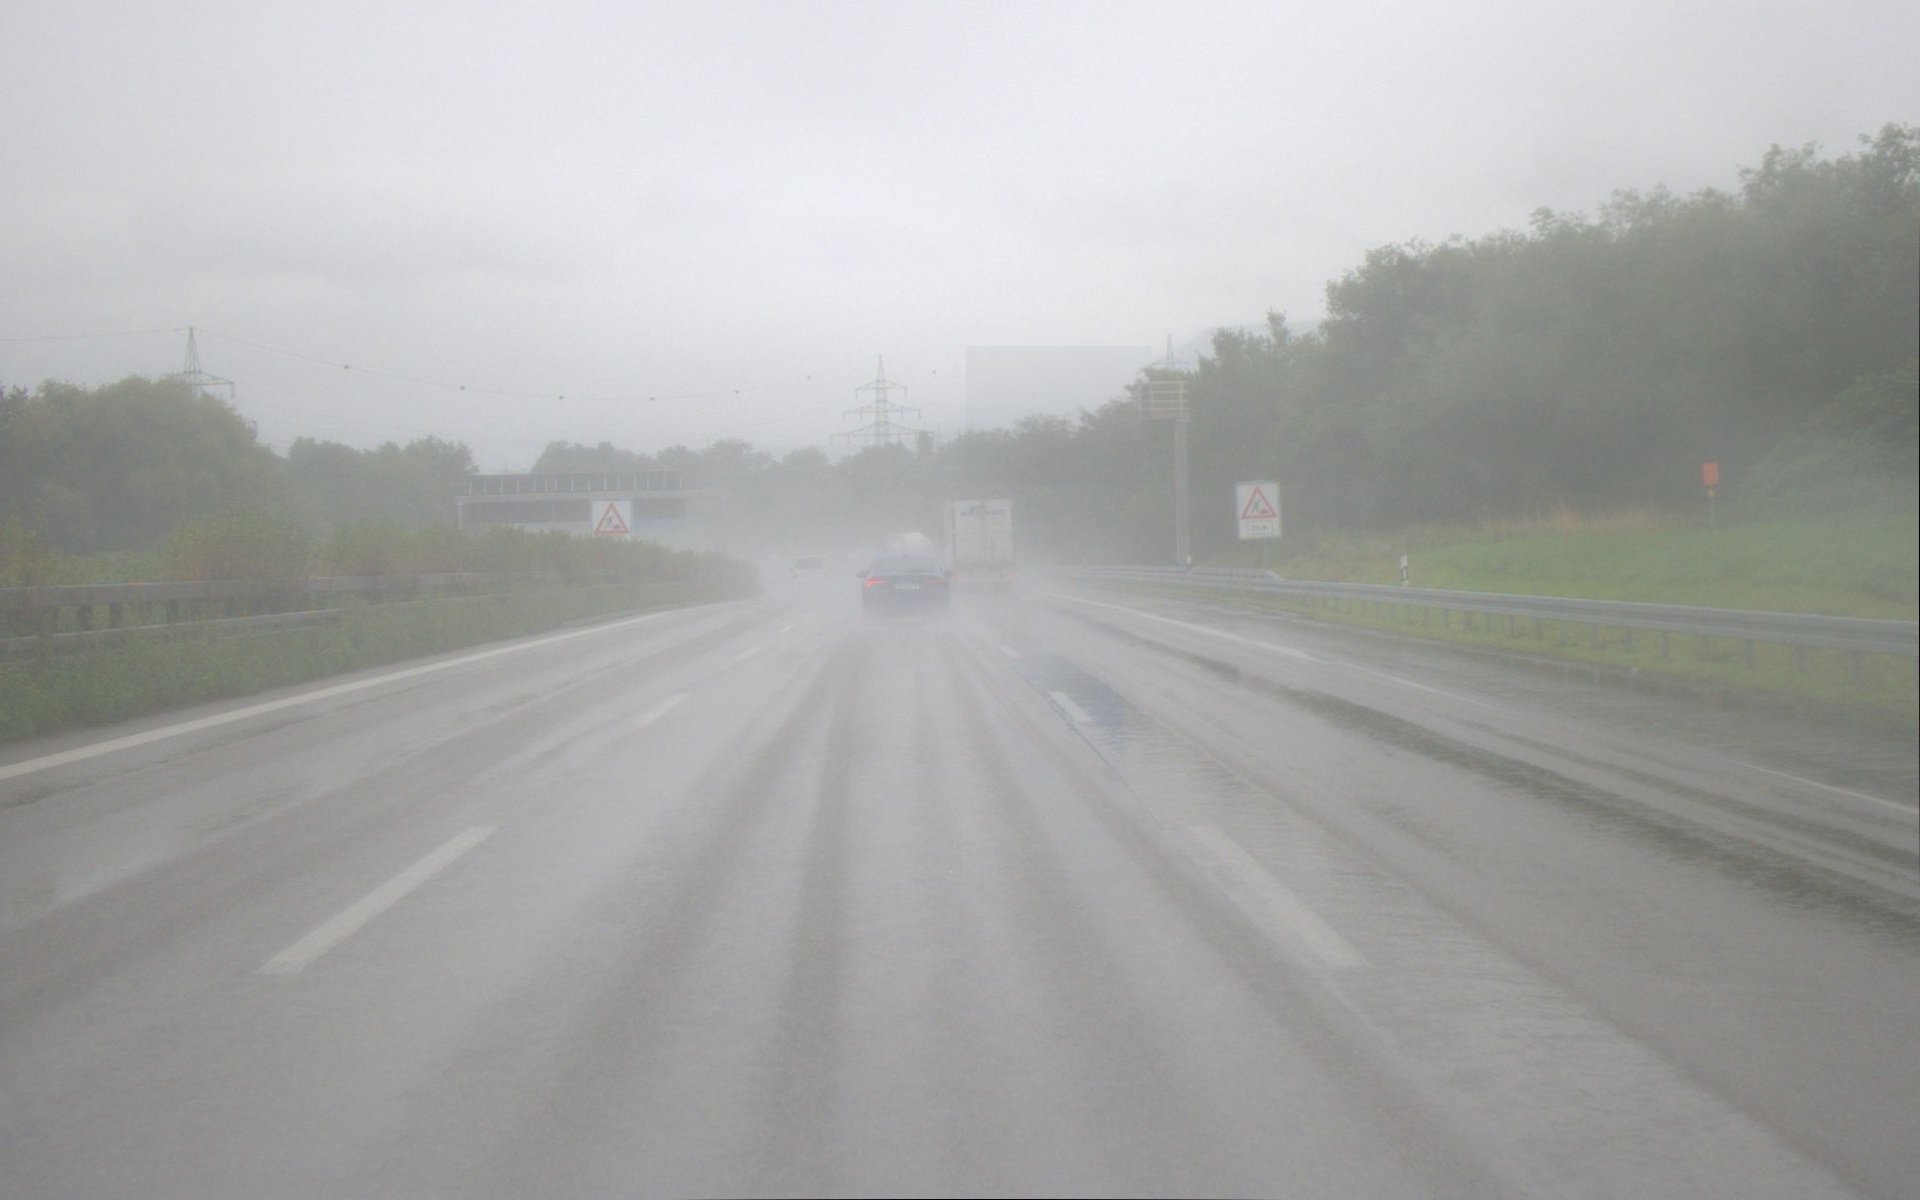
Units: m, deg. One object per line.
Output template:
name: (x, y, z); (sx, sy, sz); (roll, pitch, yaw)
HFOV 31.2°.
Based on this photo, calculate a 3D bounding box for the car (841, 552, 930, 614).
car: (-1.521, -0.360, 69.656); (1.748, 1.208, 4.000); (0, 1, -2)

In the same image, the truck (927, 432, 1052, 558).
truck: (1.128, -4.517, 150.294); (4.256, 4.955, 17.343); (-3, 1, -2)
